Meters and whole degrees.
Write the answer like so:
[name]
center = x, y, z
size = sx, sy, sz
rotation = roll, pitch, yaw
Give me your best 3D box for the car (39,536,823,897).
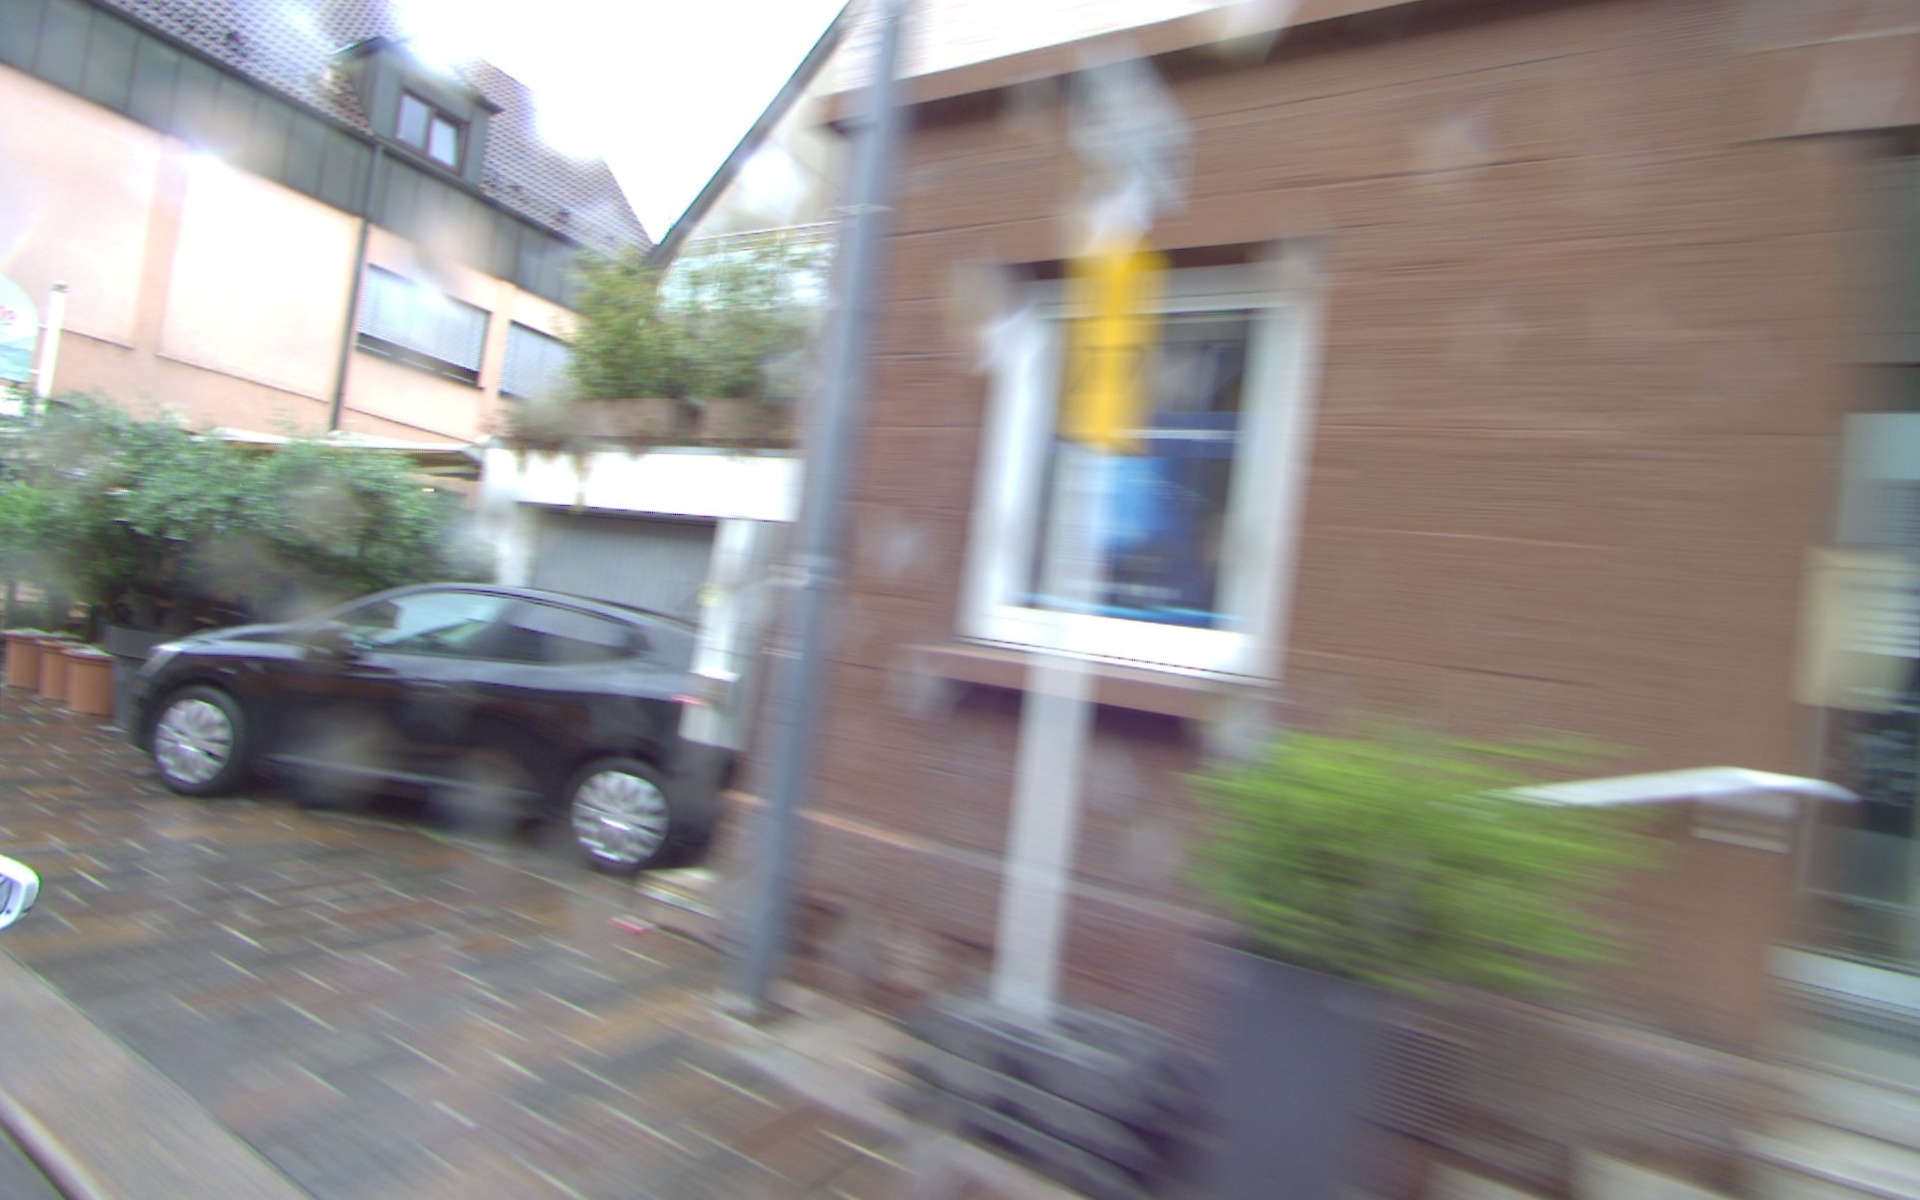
[car]
center = -3.025, 0.626, 6.223
size = 3.862, 1.372, 1.741
rotation = 8, -2, 7
